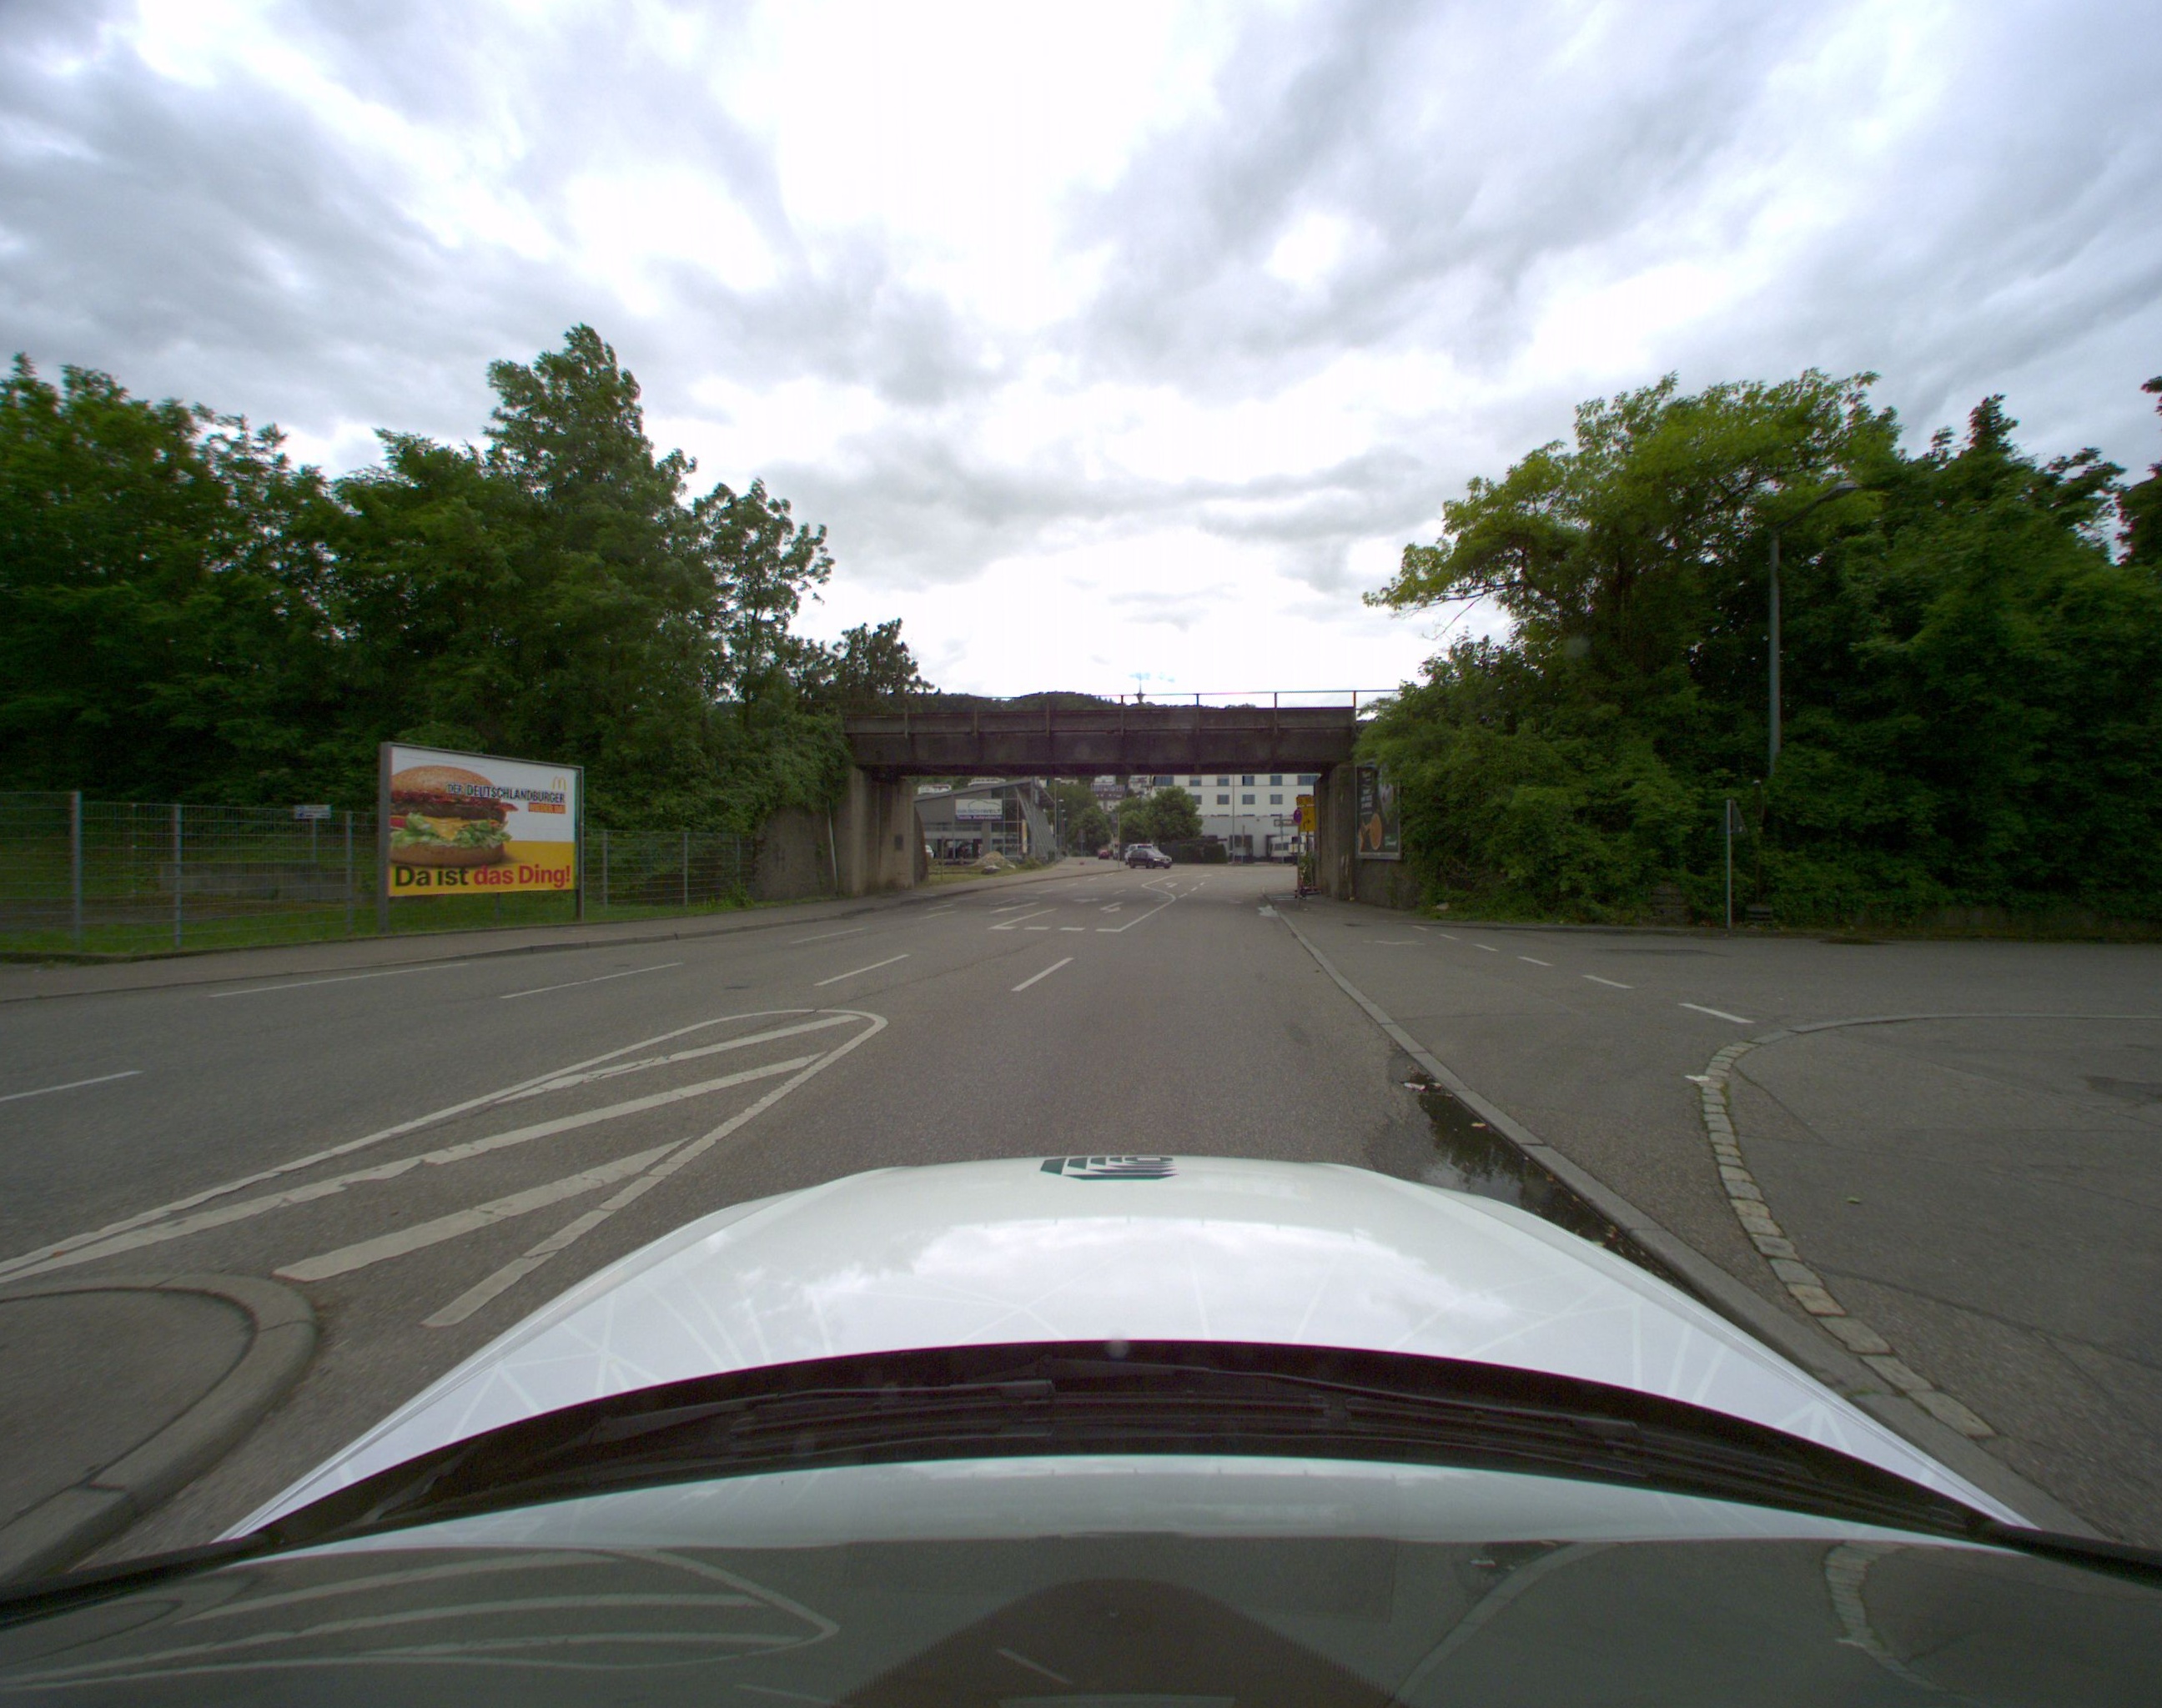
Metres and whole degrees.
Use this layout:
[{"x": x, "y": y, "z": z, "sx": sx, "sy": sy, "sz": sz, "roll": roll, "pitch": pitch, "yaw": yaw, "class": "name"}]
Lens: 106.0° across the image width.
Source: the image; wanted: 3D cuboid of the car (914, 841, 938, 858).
[{"x": -14.508, "y": -0.434, "z": 75.970, "sx": 1.996, "sy": 1.535, "sz": 3.981, "roll": 0, "pitch": 0, "yaw": -14, "class": "car"}]

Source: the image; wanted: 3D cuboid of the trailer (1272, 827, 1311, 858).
[{"x": 29.674, "y": -1.513, "z": 115.128, "sx": 3.068, "sy": 4.077, "sz": 11.417, "roll": 0, "pitch": 0, "yaw": 3, "class": "trailer"}]

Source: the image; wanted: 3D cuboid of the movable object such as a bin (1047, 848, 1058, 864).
[{"x": -3.190, "y": 0.221, "z": 91.415, "sx": 1.138, "sy": 1.757, "sz": 1.059, "roll": 0, "pitch": -1, "yaw": 2, "class": "movable object such as a bin"}]

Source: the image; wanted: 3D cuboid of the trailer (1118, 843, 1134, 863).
[{"x": 7.066, "y": -0.179, "z": 128.959, "sx": 2.271, "sy": 2.953, "sz": 4.000, "roll": 0, "pitch": 1, "yaw": 0, "class": "trailer"}]

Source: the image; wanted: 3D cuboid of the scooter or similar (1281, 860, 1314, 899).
[{"x": 7.310, "y": 0.850, "z": 27.550, "sx": 0.503, "sy": 1.236, "sz": 1.668, "roll": -4, "pitch": 0, "yaw": -3, "class": "scooter or similar"}]

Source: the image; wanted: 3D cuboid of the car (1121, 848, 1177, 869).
[{"x": 5.499, "y": 0.351, "z": 66.309, "sx": 2.012, "sy": 1.684, "sz": 4.317, "roll": 0, "pitch": -1, "yaw": -45, "class": "car"}]

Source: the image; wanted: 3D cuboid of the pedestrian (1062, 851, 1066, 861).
[{"x": -2.751, "y": 0.268, "z": 134.521, "sx": 0.626, "sy": 1.673, "sz": 0.757, "roll": 0, "pitch": -1, "yaw": -3, "class": "pedestrian"}]

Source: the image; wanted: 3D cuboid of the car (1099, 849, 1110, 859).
[{"x": 4.270, "y": -0.002, "z": 149.260, "sx": 1.985, "sy": 1.684, "sz": 4.003, "roll": 0, "pitch": 0, "yaw": 3, "class": "car"}]

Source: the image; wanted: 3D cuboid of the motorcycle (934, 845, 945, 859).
[{"x": -16.853, "y": -0.250, "z": 97.022, "sx": 0.837, "sy": 1.710, "sz": 2.362, "roll": 0, "pitch": 0, "yaw": -2, "class": "motorcycle"}]

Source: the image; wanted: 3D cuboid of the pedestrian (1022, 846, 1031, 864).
[{"x": -5.947, "y": 0.123, "z": 88.511, "sx": 0.826, "sy": 1.868, "sz": 0.715, "roll": -1, "pitch": 0, "yaw": -12, "class": "pedestrian"}]

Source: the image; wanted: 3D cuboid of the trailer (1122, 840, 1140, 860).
[{"x": 9.306, "y": -0.738, "z": 151.946, "sx": 3.058, "sy": 3.759, "sz": 4.934, "roll": 0, "pitch": 1, "yaw": 0, "class": "trailer"}]

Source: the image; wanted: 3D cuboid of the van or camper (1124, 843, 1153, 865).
[{"x": 5.541, "y": 0.016, "z": 78.817, "sx": 2.096, "sy": 2.083, "sz": 4.196, "roll": 0, "pitch": 0, "yaw": -6, "class": "van or camper"}]

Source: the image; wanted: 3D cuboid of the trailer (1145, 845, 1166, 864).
[{"x": 8.131, "y": 0.075, "z": 89.273, "sx": 1.987, "sy": 2.013, "sz": 4.000, "roll": 0, "pitch": 1, "yaw": 0, "class": "trailer"}]
